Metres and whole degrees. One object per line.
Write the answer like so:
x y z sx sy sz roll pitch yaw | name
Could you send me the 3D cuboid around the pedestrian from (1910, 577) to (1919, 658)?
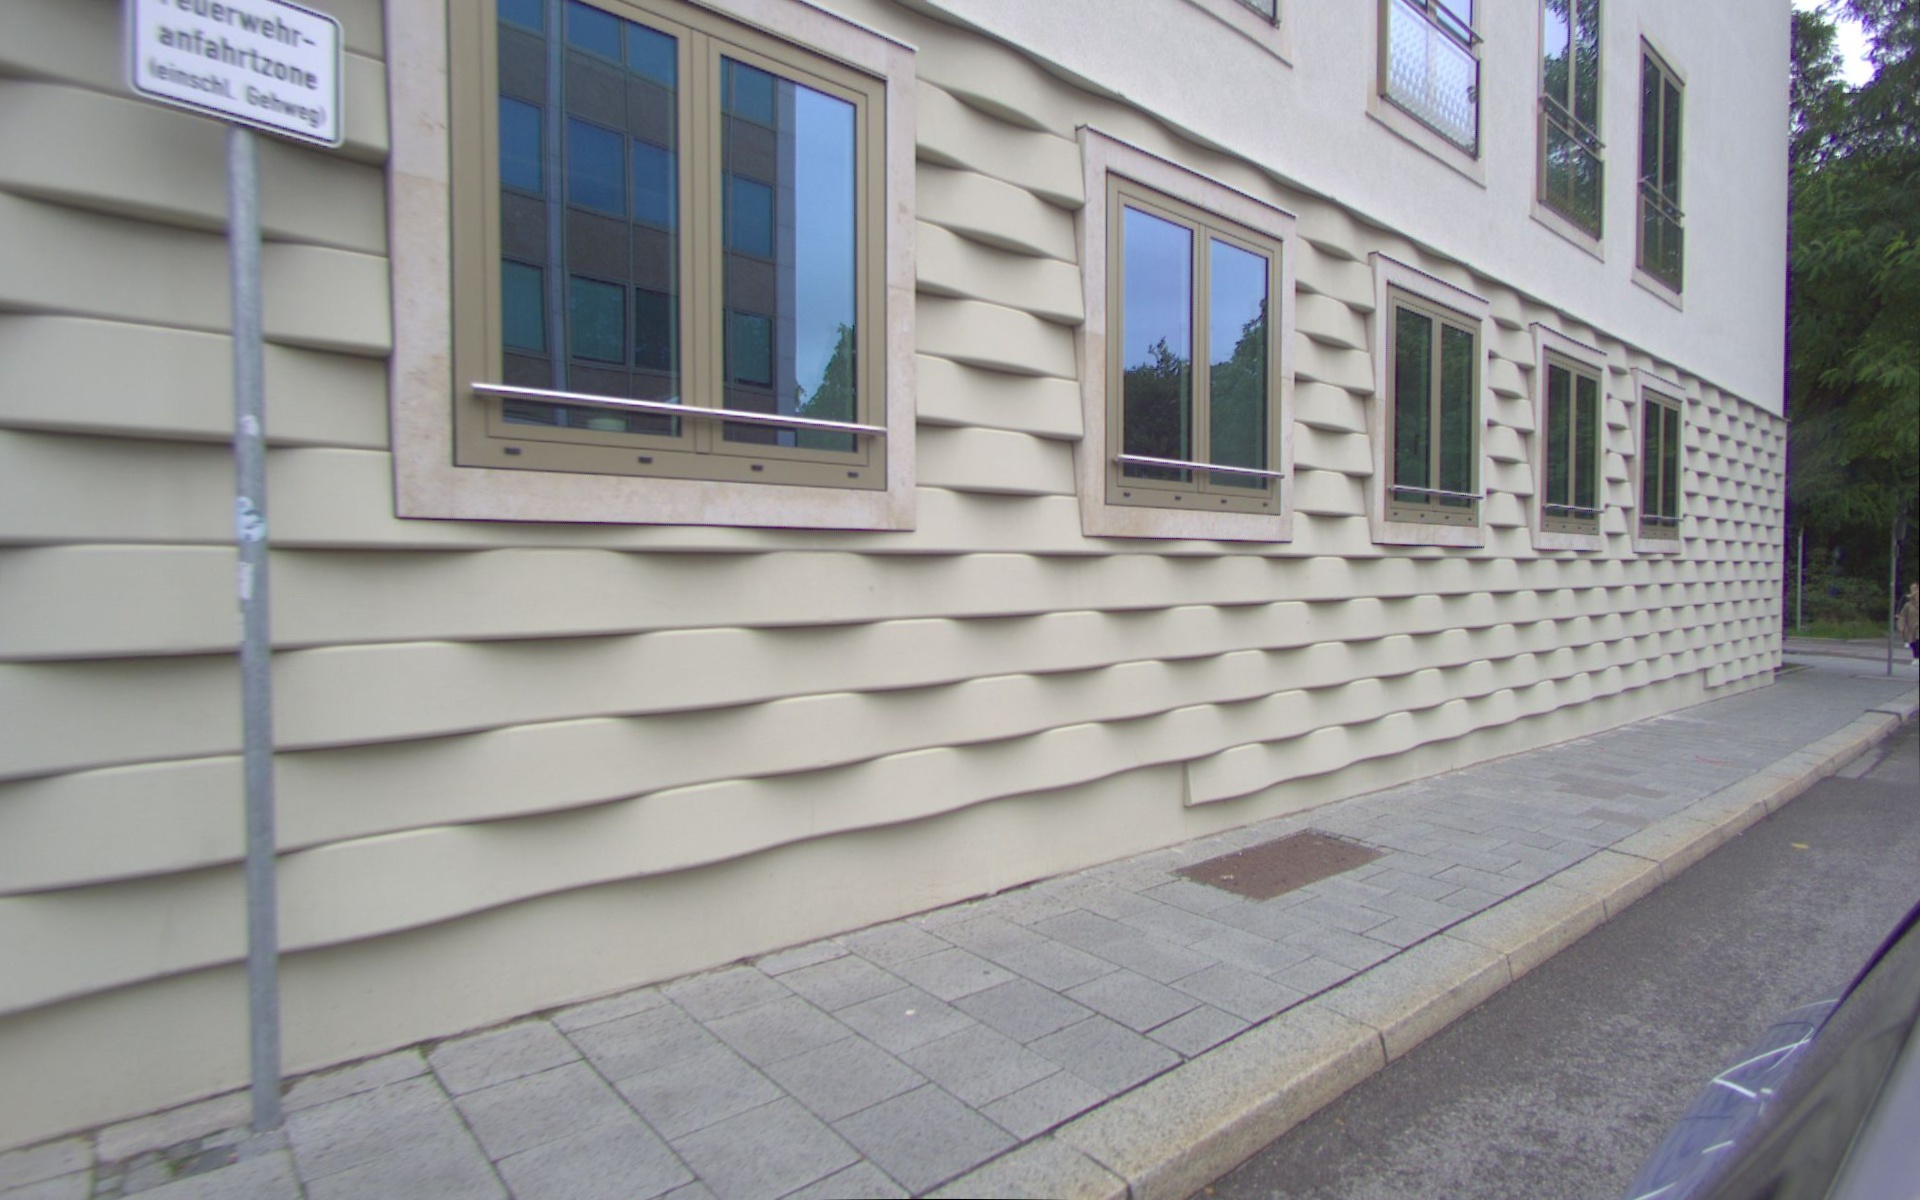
20.600 0.382 21.341 0.644 1.701 0.752 0 1 -42 | pedestrian
